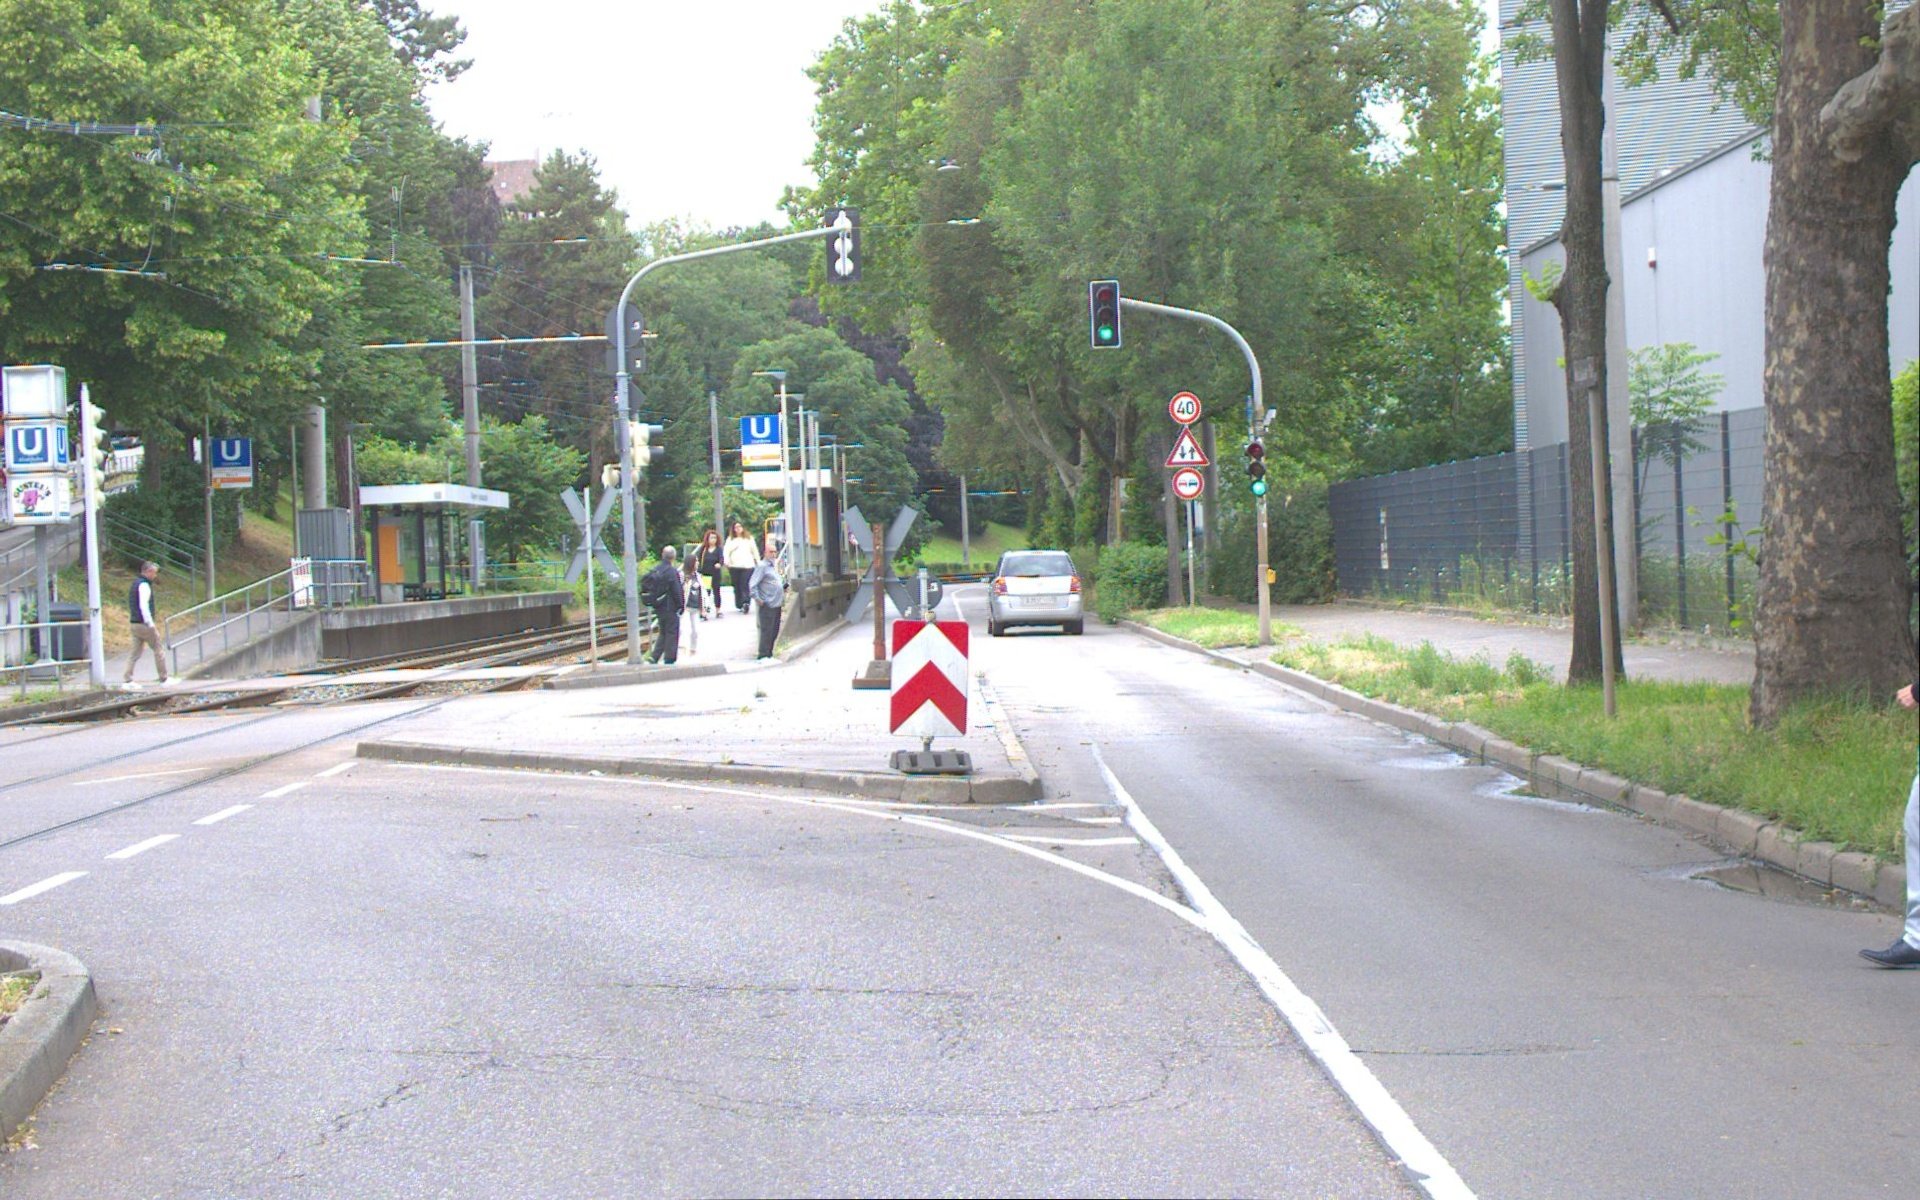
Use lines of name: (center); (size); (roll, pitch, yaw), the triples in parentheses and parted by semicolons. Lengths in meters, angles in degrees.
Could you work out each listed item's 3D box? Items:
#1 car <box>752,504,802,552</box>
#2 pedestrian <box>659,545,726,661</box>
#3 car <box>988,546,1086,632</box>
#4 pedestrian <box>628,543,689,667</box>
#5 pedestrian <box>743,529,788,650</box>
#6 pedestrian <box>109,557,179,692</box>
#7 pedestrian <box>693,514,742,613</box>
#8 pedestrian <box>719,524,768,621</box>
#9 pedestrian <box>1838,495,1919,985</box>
car: (-8.017, -3.150, 151.157); (1.993, 2.007, 4.000); (1, 1, -1)
pedestrian: (-3.877, 0.036, 49.757); (0.735, 1.659, 0.682); (1, 0, -28)
car: (1.451, -0.231, 66.115); (1.743, 1.593, 4.000); (1, 1, -1)
pedestrian: (-4.097, 0.062, 46.730); (0.735, 1.659, 0.682); (1, 0, 1)
pedestrian: (-2.866, -0.157, 50.782); (0.550, 1.752, 0.737); (1, 0, 4)
pedestrian: (-11.105, 0.326, 46.778); (0.802, 1.815, 0.670); (1, 0, -24)
pedestrian: (-4.127, -0.626, 58.440); (0.735, 1.659, 0.682); (1, 0, -11)
pedestrian: (-3.744, -0.471, 59.467); (0.735, 1.659, 0.682); (1, 0, -11)
pedestrian: (3.864, 0.503, 12.668); (1.117, 1.754, 0.813); (1, 0, 8)
